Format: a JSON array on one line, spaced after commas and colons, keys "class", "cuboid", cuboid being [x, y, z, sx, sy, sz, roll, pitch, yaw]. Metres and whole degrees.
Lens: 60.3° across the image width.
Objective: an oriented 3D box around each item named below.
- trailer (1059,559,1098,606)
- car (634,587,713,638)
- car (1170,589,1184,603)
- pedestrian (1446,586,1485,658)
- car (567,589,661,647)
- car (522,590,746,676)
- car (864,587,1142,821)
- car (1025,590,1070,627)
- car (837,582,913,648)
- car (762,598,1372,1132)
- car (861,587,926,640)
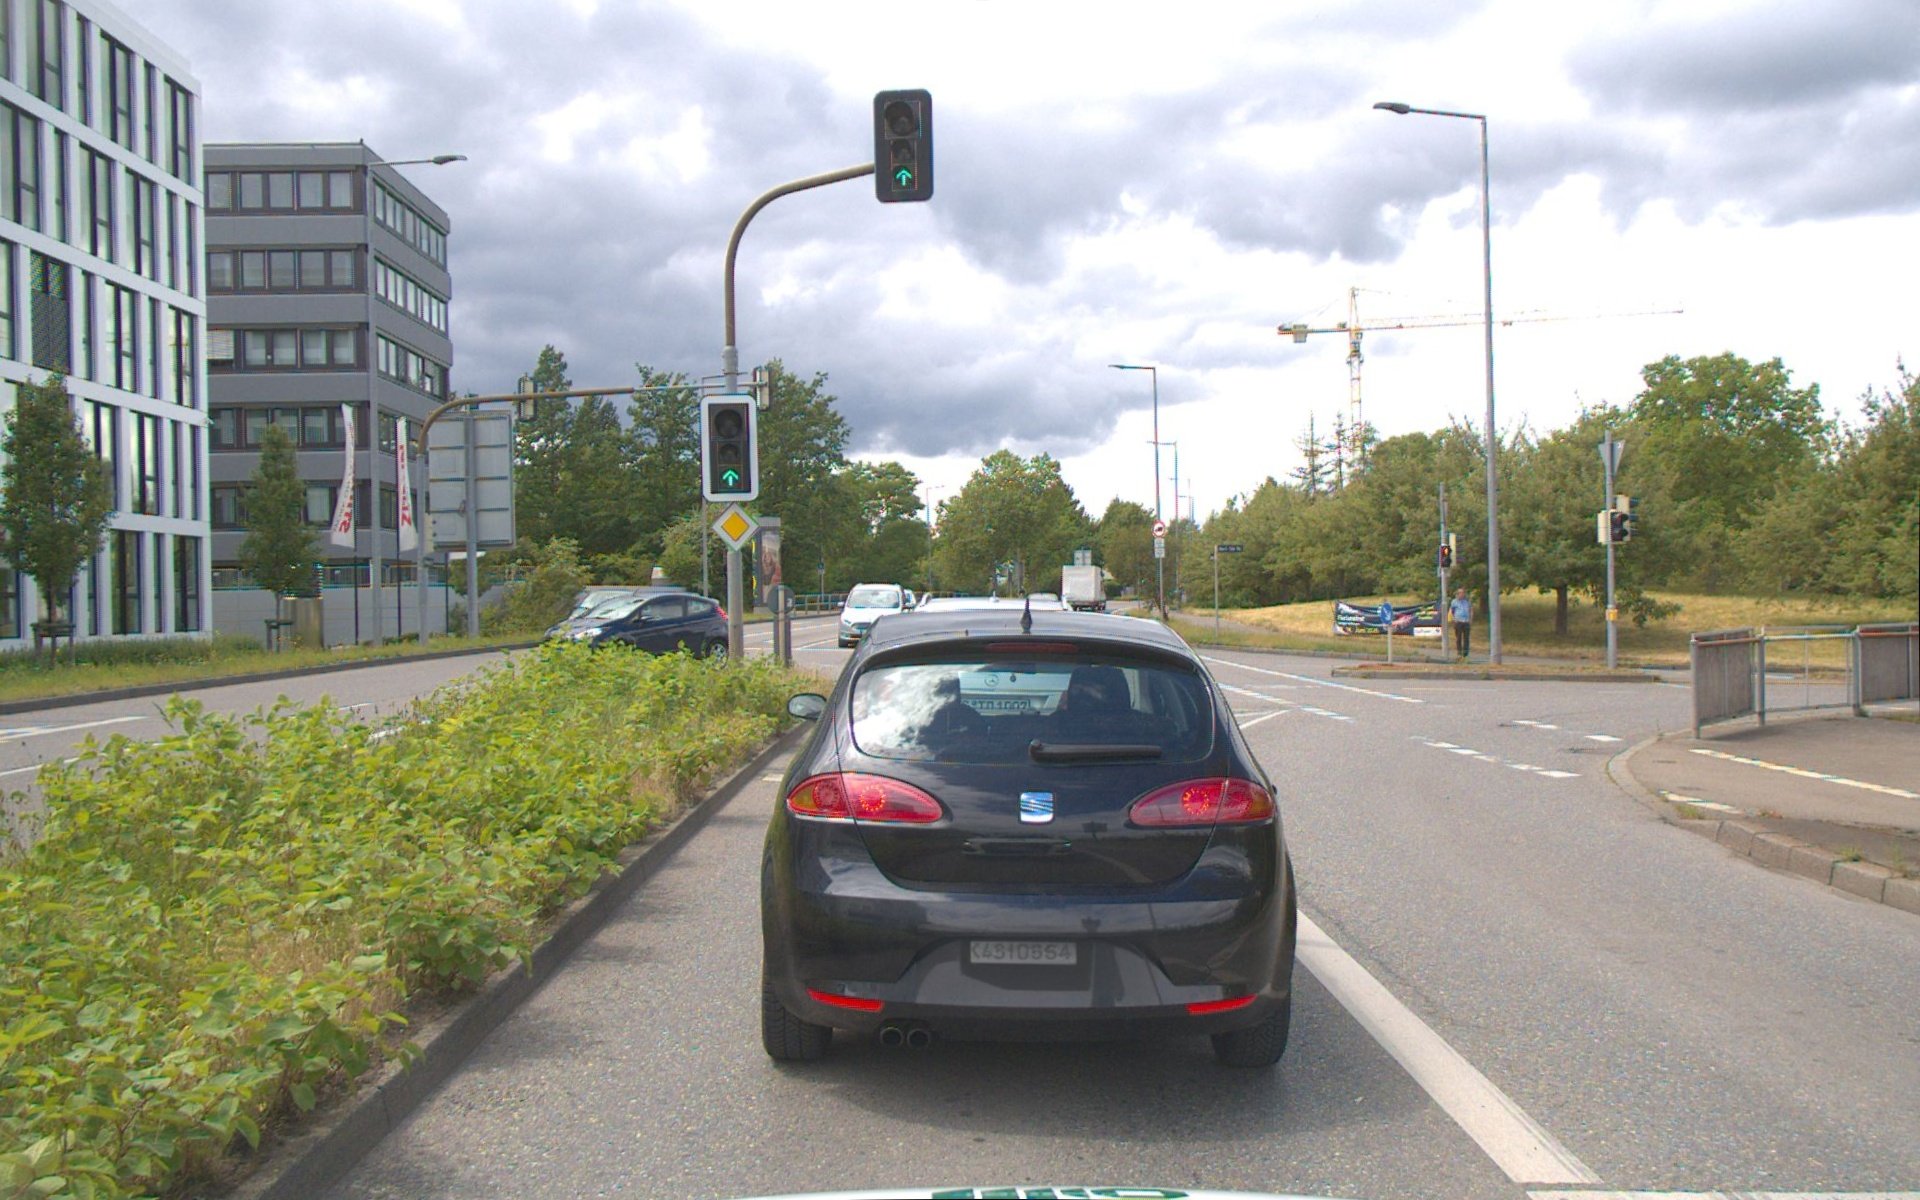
[{"class": "trailer", "cuboid": [8.164, -1.169, 113.447, 2.438, 3.127, 5.590, 1, 0, 6]}, {"class": "car", "cuboid": [-8.608, 0.345, 49.978, 1.521, 1.444, 3.897, 1, 1, 3]}, {"class": "car", "cuboid": [27.733, -0.496, 211.589, 1.631, 1.624, 4.003, 1, 0, 9]}, {"class": "pedestrian", "cuboid": [13.057, 0.558, 42.764, 0.703, 1.824, 1.044, 1, 0, 3]}, {"class": "car", "cuboid": [-9.012, 0.438, 43.297, 1.572, 1.457, 3.753, 0, 0, 1]}, {"class": "car", "cuboid": [-6.016, 0.598, 30.858, 1.728, 1.471, 3.870, 1, 0, 40]}, {"class": "car", "cuboid": [0.297, 0.687, 12.685, 1.797, 1.493, 3.751, 1, 0, 0]}, {"class": "car", "cuboid": [3.914, 0.354, 74.314, 1.952, 1.593, 4.472, 0, 0, 3]}, {"class": "car", "cuboid": [-2.331, 0.383, 46.247, 1.783, 1.716, 4.646, 1, 1, 1]}, {"class": "car", "cuboid": [0.281, 0.736, 6.310, 1.676, 1.442, 3.459, 1, 0, -1]}, {"class": "car", "cuboid": [-2.062, 0.392, 52.217, 1.625, 1.545, 4.086, 1, 1, 3]}]
